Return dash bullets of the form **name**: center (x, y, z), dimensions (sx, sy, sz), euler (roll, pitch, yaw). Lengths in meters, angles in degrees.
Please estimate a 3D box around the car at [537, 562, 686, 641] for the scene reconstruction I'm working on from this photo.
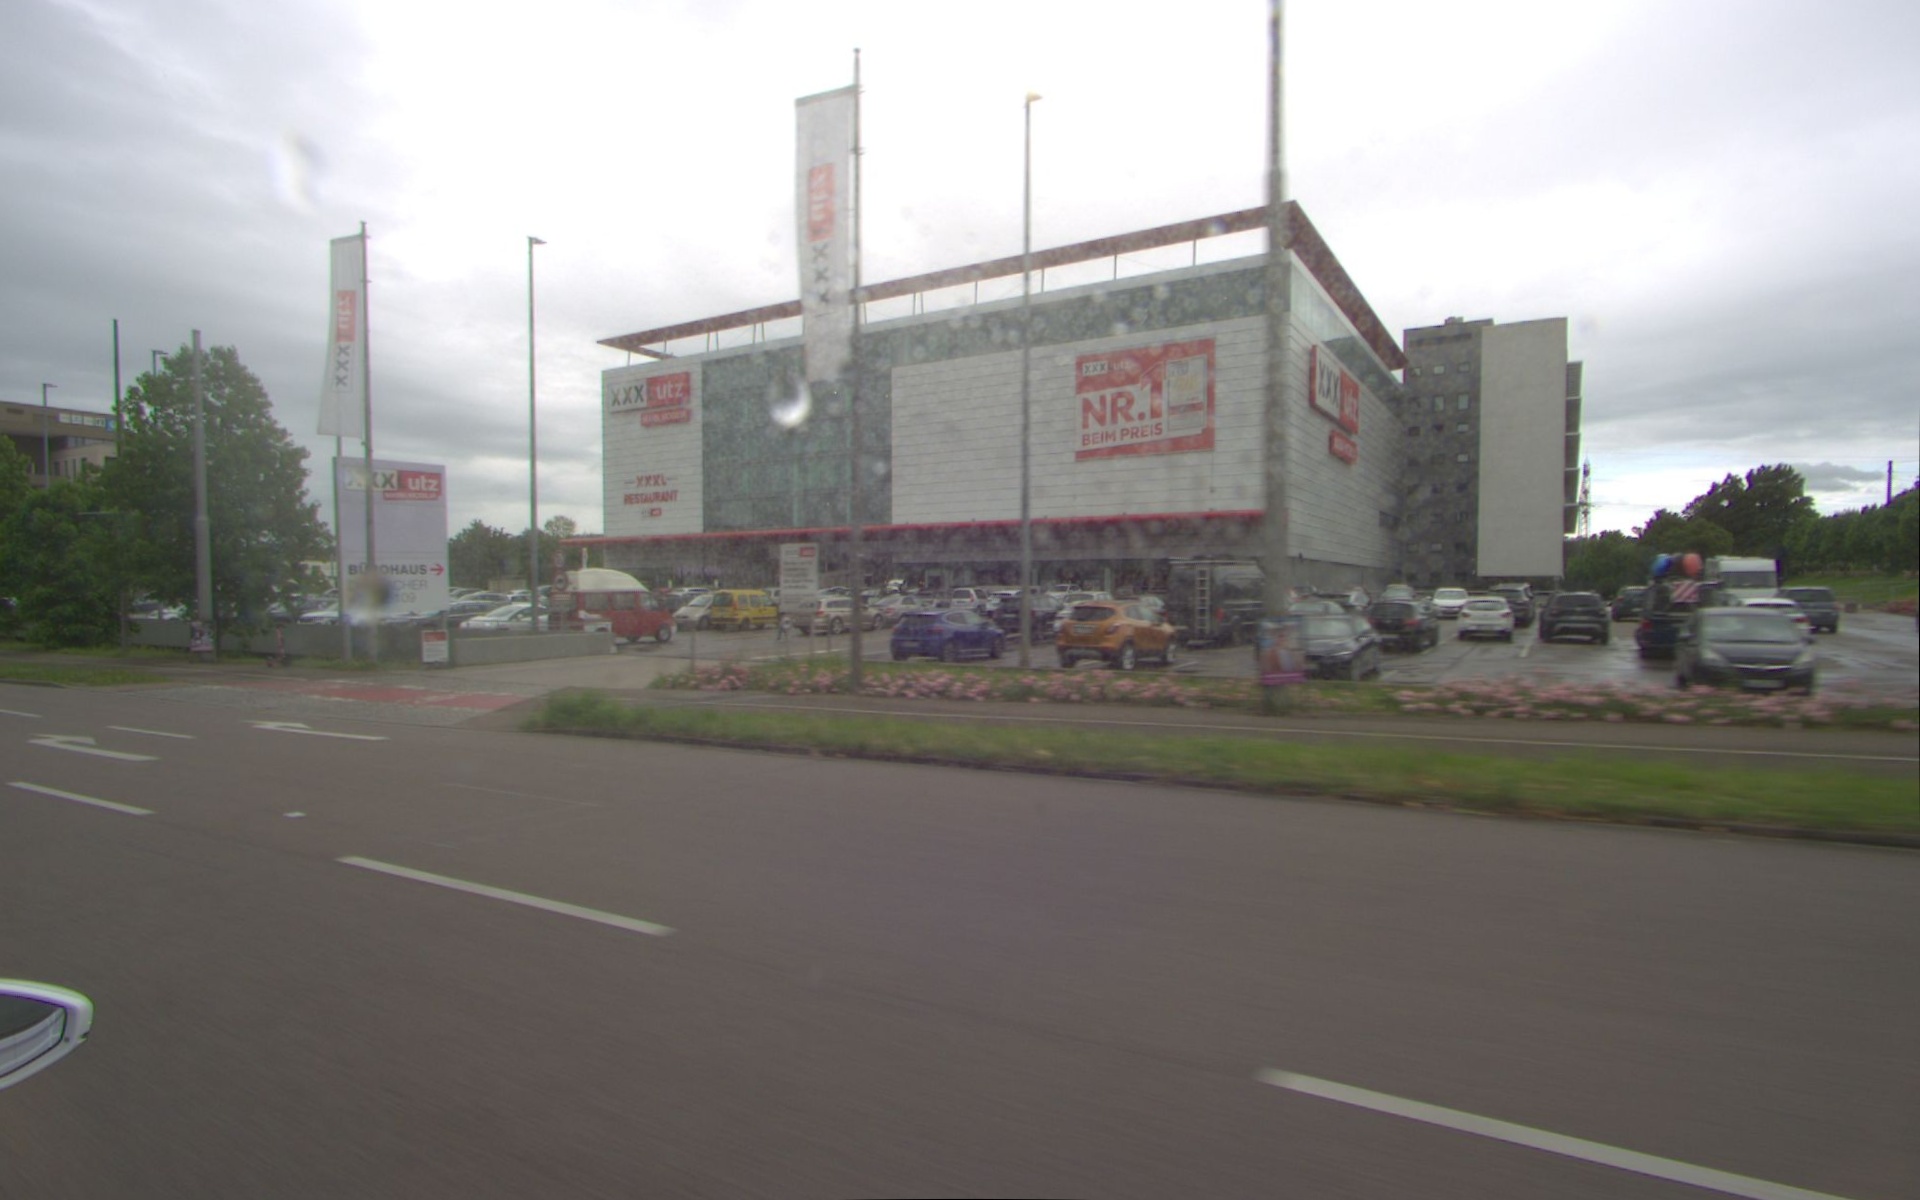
- **car**: center (-12.413, 0.042, 35.923), dimensions (2.139, 2.614, 4.711), euler (3, 2, 33)

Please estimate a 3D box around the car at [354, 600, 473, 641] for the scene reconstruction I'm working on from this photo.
- **car**: center (-22.754, 0.806, 41.835), dimensions (1.738, 1.562, 4.044), euler (3, 1, 33)

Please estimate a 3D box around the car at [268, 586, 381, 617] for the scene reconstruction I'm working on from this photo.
- **car**: center (-29.871, 0.068, 47.156), dimensions (1.782, 1.368, 4.145), euler (2, 1, 31)

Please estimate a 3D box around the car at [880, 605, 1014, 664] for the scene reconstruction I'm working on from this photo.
- **car**: center (-0.280, 0.884, 27.614), dimensions (1.789, 1.474, 3.978), euler (0, 0, 33)

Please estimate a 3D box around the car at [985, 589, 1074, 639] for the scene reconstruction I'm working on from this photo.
- **car**: center (2.636, 0.468, 37.379), dimensions (1.804, 1.677, 3.884), euler (1, 2, 30)

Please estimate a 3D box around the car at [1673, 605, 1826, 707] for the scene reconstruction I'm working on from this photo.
- **car**: center (14.460, 0.934, 18.553), dimensions (1.744, 1.604, 4.083), euler (2, 1, 32)

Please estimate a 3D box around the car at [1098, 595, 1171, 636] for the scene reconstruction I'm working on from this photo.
- **car**: center (7.020, 0.601, 40.042), dimensions (1.633, 1.576, 3.658), euler (0, 0, 33)

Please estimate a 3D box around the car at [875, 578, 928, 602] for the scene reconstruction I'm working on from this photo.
- **car**: center (-4.007, -0.711, 69.358), dimensions (1.803, 1.575, 3.786), euler (2, 1, 31)

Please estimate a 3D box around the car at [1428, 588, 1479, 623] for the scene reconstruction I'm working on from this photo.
- **car**: center (23.993, 0.242, 48.609), dimensions (1.753, 1.552, 3.976), euler (0, 2, 34)

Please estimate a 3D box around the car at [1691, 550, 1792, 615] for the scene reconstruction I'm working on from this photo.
- **car**: center (39.484, -0.877, 50.833), dimensions (2.725, 3.030, 6.922), euler (2, 1, 28)

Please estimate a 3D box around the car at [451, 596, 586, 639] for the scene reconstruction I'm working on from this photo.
- **car**: center (-16.728, 0.613, 38.151), dimensions (1.933, 1.481, 4.364), euler (3, 1, 33)

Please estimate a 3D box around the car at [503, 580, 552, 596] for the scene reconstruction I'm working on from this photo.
- **car**: center (-34.009, -0.944, 78.800), dimensions (1.441, 1.246, 3.246), euler (2, 1, 32)

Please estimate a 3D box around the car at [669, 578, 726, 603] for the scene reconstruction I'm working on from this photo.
- **car**: center (-18.011, -0.634, 68.777), dimensions (1.717, 1.608, 3.557), euler (0, 0, 36)

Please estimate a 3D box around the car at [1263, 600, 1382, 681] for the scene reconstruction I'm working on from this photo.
- **car**: center (8.098, 0.800, 22.118), dimensions (1.743, 1.604, 4.519), euler (0, 0, 30)

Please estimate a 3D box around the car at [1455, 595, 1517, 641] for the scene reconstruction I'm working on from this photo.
- **car**: center (18.182, 0.592, 34.702), dimensions (1.802, 1.487, 3.889), euler (0, 0, 27)

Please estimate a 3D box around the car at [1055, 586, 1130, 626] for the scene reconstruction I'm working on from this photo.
- **car**: center (5.637, 0.217, 42.270), dimensions (1.669, 1.602, 3.886), euler (1, 1, 32)

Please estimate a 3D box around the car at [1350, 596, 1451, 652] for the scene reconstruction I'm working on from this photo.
- **car**: center (13.402, 0.683, 30.376), dimensions (1.923, 1.576, 3.972), euler (0, 0, 37)

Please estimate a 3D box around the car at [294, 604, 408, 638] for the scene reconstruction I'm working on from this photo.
- **car**: center (-27.096, 0.884, 44.662), dimensions (1.737, 1.368, 4.047), euler (2, 1, 31)

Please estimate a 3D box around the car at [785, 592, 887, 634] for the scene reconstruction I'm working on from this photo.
- **car**: center (-5.138, 0.538, 42.061), dimensions (1.808, 1.605, 4.401), euler (3, 1, 33)

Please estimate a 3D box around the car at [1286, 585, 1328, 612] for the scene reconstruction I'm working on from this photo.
- **car**: center (21.638, -0.068, 62.404), dimensions (1.627, 1.580, 3.596), euler (1, 0, 33)

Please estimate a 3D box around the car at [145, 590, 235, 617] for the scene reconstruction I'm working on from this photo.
- **car**: center (-41.188, 0.166, 53.619), dimensions (1.580, 1.325, 3.511), euler (2, 1, 27)

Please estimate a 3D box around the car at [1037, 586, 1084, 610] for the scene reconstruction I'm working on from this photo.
- **car**: center (7.180, -0.151, 71.322), dimensions (1.803, 1.575, 3.786), euler (2, 1, 31)

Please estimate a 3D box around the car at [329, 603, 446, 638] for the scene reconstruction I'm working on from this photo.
- **car**: center (-24.580, 0.856, 43.128), dimensions (1.807, 1.368, 4.047), euler (2, 1, 31)

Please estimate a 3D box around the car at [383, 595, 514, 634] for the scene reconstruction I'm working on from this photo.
- **car**: center (-20.691, 0.557, 40.670), dimensions (1.840, 1.438, 4.455), euler (3, 1, 33)

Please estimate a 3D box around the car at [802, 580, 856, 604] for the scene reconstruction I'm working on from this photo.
- **car**: center (-8.999, -0.562, 69.013), dimensions (1.717, 1.575, 3.764), euler (2, 1, 32)

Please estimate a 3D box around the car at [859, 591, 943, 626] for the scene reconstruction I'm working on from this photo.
- **car**: center (-2.695, 0.397, 46.508), dimensions (1.714, 1.489, 4.229), euler (3, 1, 33)

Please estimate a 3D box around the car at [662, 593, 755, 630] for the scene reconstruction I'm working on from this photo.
- **car**: center (-11.613, 0.510, 46.485), dimensions (1.852, 1.617, 3.978), euler (3, 1, 33)

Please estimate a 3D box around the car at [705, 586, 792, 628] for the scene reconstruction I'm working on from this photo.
- **car**: center (-9.473, 0.292, 45.114), dimensions (1.709, 1.792, 3.727), euler (3, 2, 33)

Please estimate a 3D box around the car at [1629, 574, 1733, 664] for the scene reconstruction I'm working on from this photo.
- **car**: center (19.423, 0.428, 26.973), dimensions (2.095, 2.194, 5.017), euler (0, 1, 37)

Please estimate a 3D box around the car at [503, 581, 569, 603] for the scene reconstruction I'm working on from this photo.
- **car**: center (-26.857, -0.496, 63.451), dimensions (1.643, 1.314, 3.560), euler (2, 1, 32)
